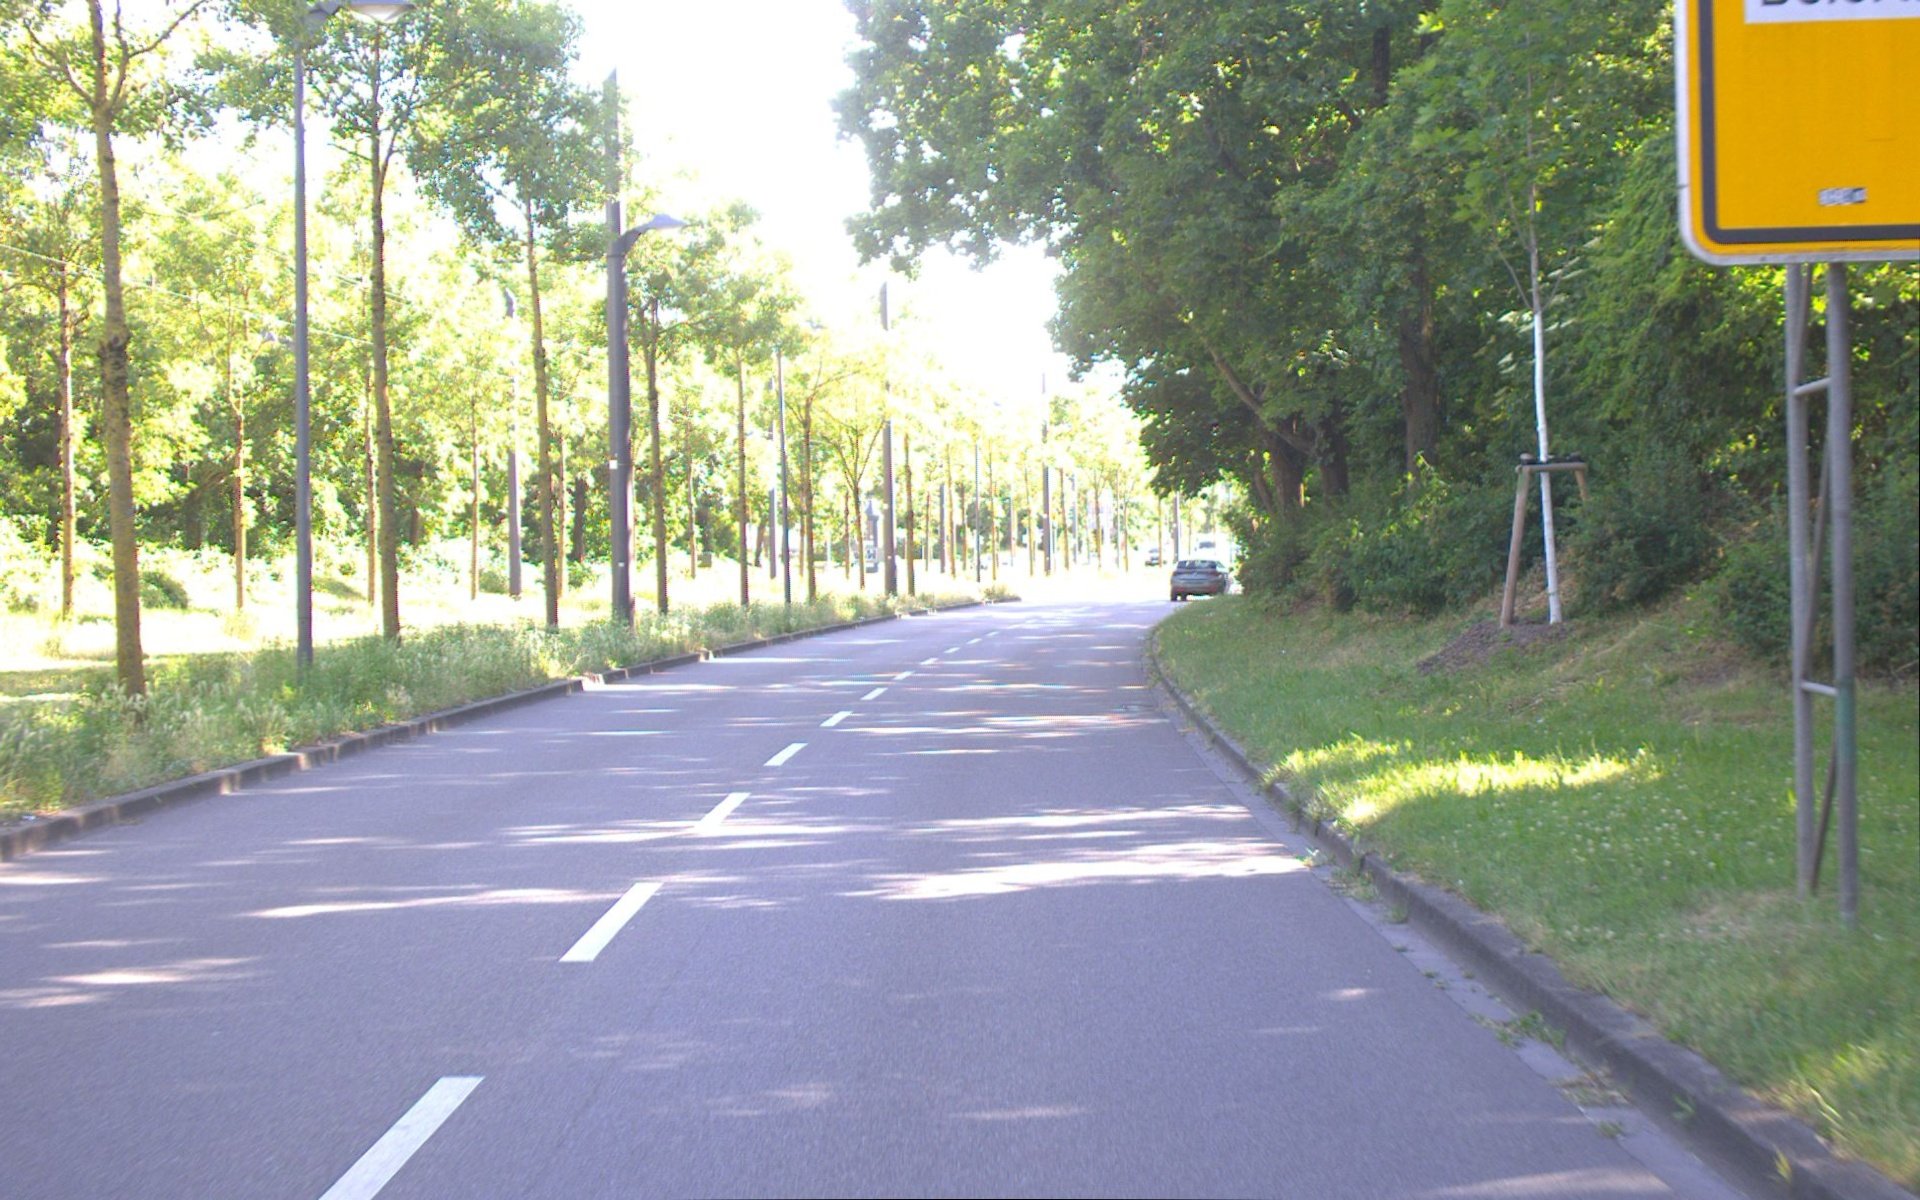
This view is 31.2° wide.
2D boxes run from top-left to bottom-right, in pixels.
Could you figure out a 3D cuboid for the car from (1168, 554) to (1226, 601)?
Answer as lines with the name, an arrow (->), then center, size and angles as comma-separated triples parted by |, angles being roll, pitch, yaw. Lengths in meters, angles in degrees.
car -> 7.792, -0.744, 112.889 | 1.634, 1.493, 4.233 | 0, 1, 7
